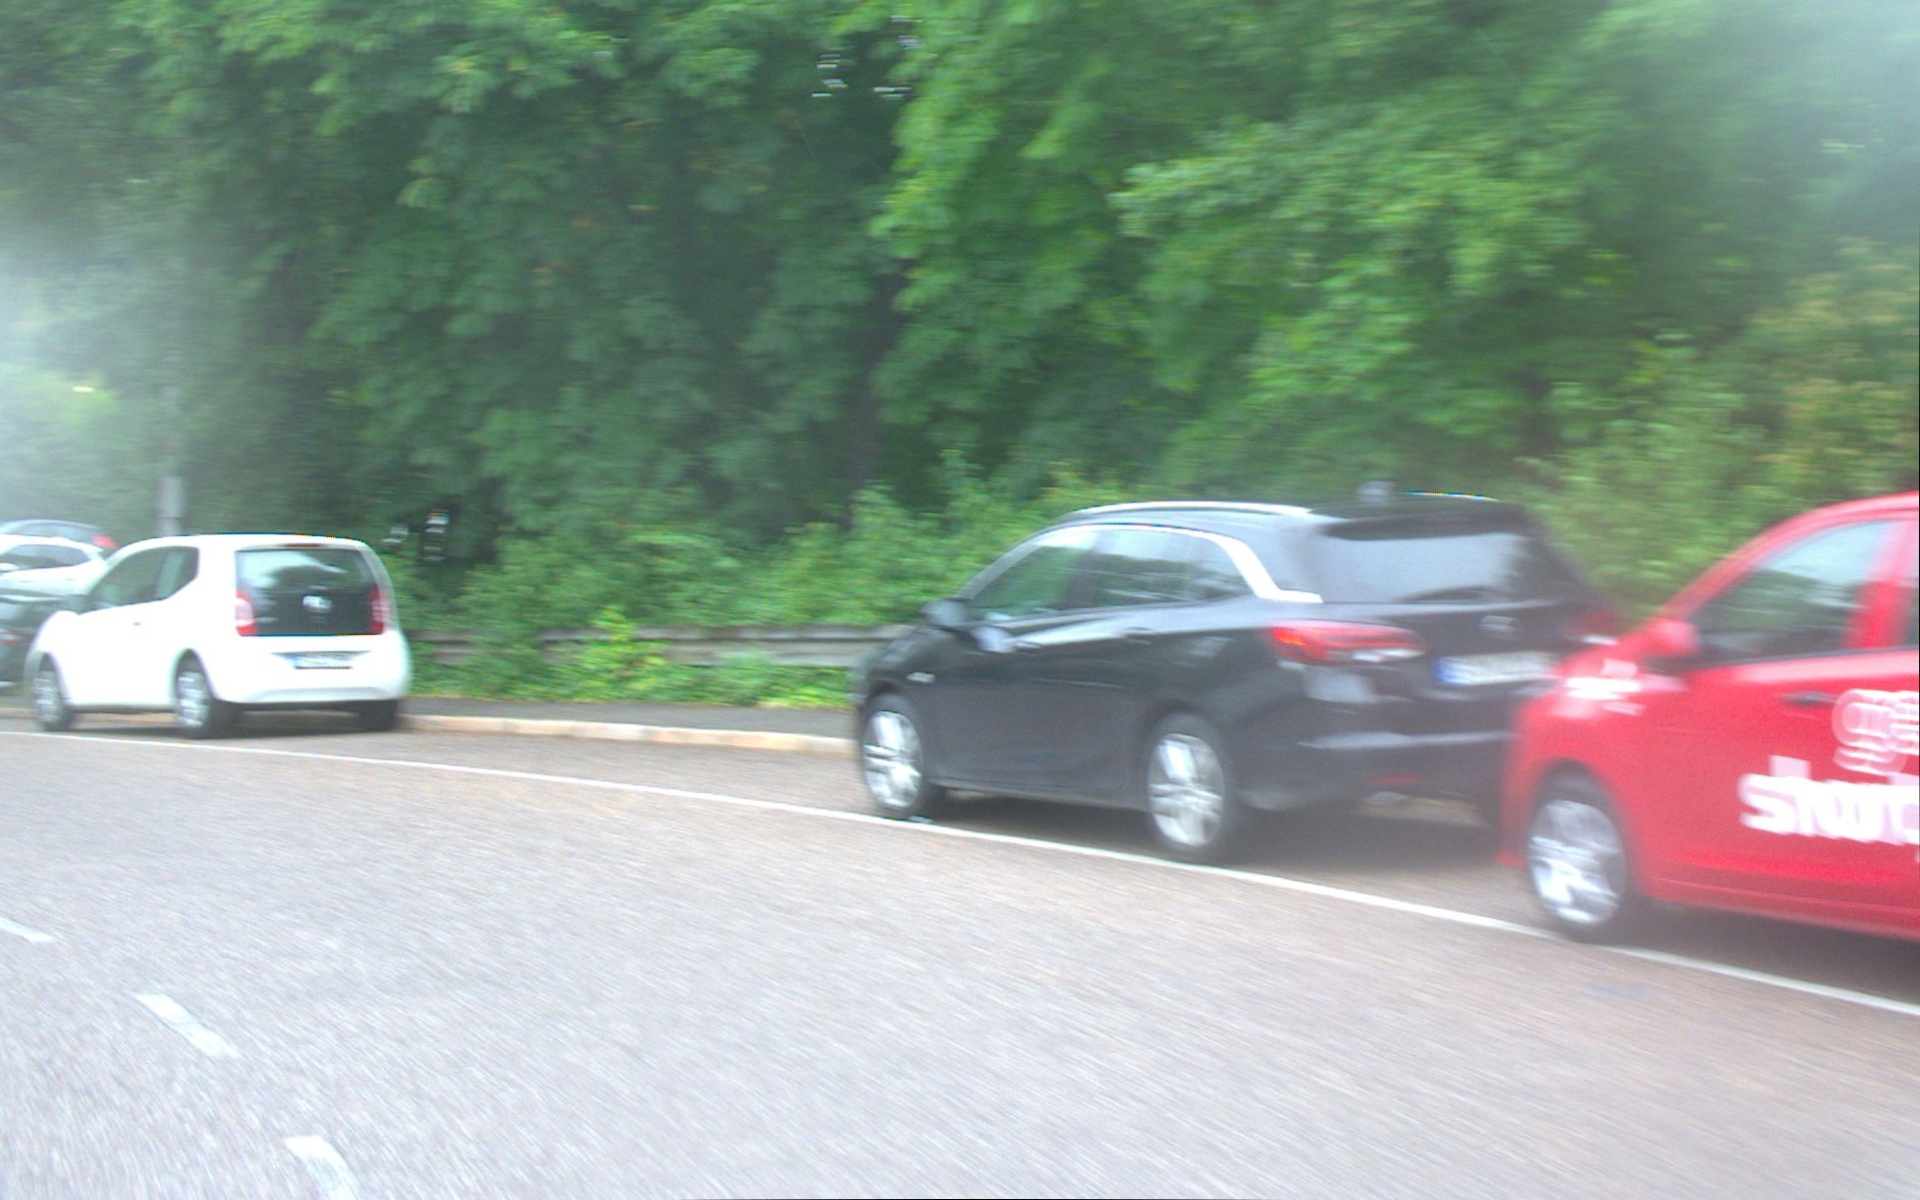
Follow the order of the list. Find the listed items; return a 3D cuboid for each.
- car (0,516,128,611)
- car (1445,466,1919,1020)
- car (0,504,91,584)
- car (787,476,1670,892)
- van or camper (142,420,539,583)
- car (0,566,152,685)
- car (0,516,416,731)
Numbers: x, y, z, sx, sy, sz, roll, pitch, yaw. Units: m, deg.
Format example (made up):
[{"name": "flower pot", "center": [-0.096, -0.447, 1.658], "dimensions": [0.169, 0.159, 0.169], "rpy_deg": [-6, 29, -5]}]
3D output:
[{"name": "car", "center": [-16.866, -0.668, 59.603], "dimensions": [1.803, 1.564, 4.445], "rpy_deg": [3, 1, 42]}, {"name": "car", "center": [3.120, 0.363, 10.394], "dimensions": [1.558, 1.508, 3.677], "rpy_deg": [-2, 3, -24]}, {"name": "car", "center": [-19.113, -1.137, 65.992], "dimensions": [4.301, 1.351, 1.759], "rpy_deg": [2, 6, -43]}, {"name": "car", "center": [0.979, 0.245, 15.221], "dimensions": [1.718, 1.508, 4.596], "rpy_deg": [-3, 3, -27]}, {"name": "van or camper", "center": [-12.702, -1.994, 70.803], "dimensions": [7.636, 2.922, 2.202], "rpy_deg": [1, 6, -33]}, {"name": "car", "center": [-13.101, 0.327, 48.239], "dimensions": [1.650, 1.460, 4.030], "rpy_deg": [6, 2, 14]}, {"name": "car", "center": [-5.715, 0.158, 25.854], "dimensions": [1.585, 1.496, 3.666], "rpy_deg": [0, 0, -39]}]
